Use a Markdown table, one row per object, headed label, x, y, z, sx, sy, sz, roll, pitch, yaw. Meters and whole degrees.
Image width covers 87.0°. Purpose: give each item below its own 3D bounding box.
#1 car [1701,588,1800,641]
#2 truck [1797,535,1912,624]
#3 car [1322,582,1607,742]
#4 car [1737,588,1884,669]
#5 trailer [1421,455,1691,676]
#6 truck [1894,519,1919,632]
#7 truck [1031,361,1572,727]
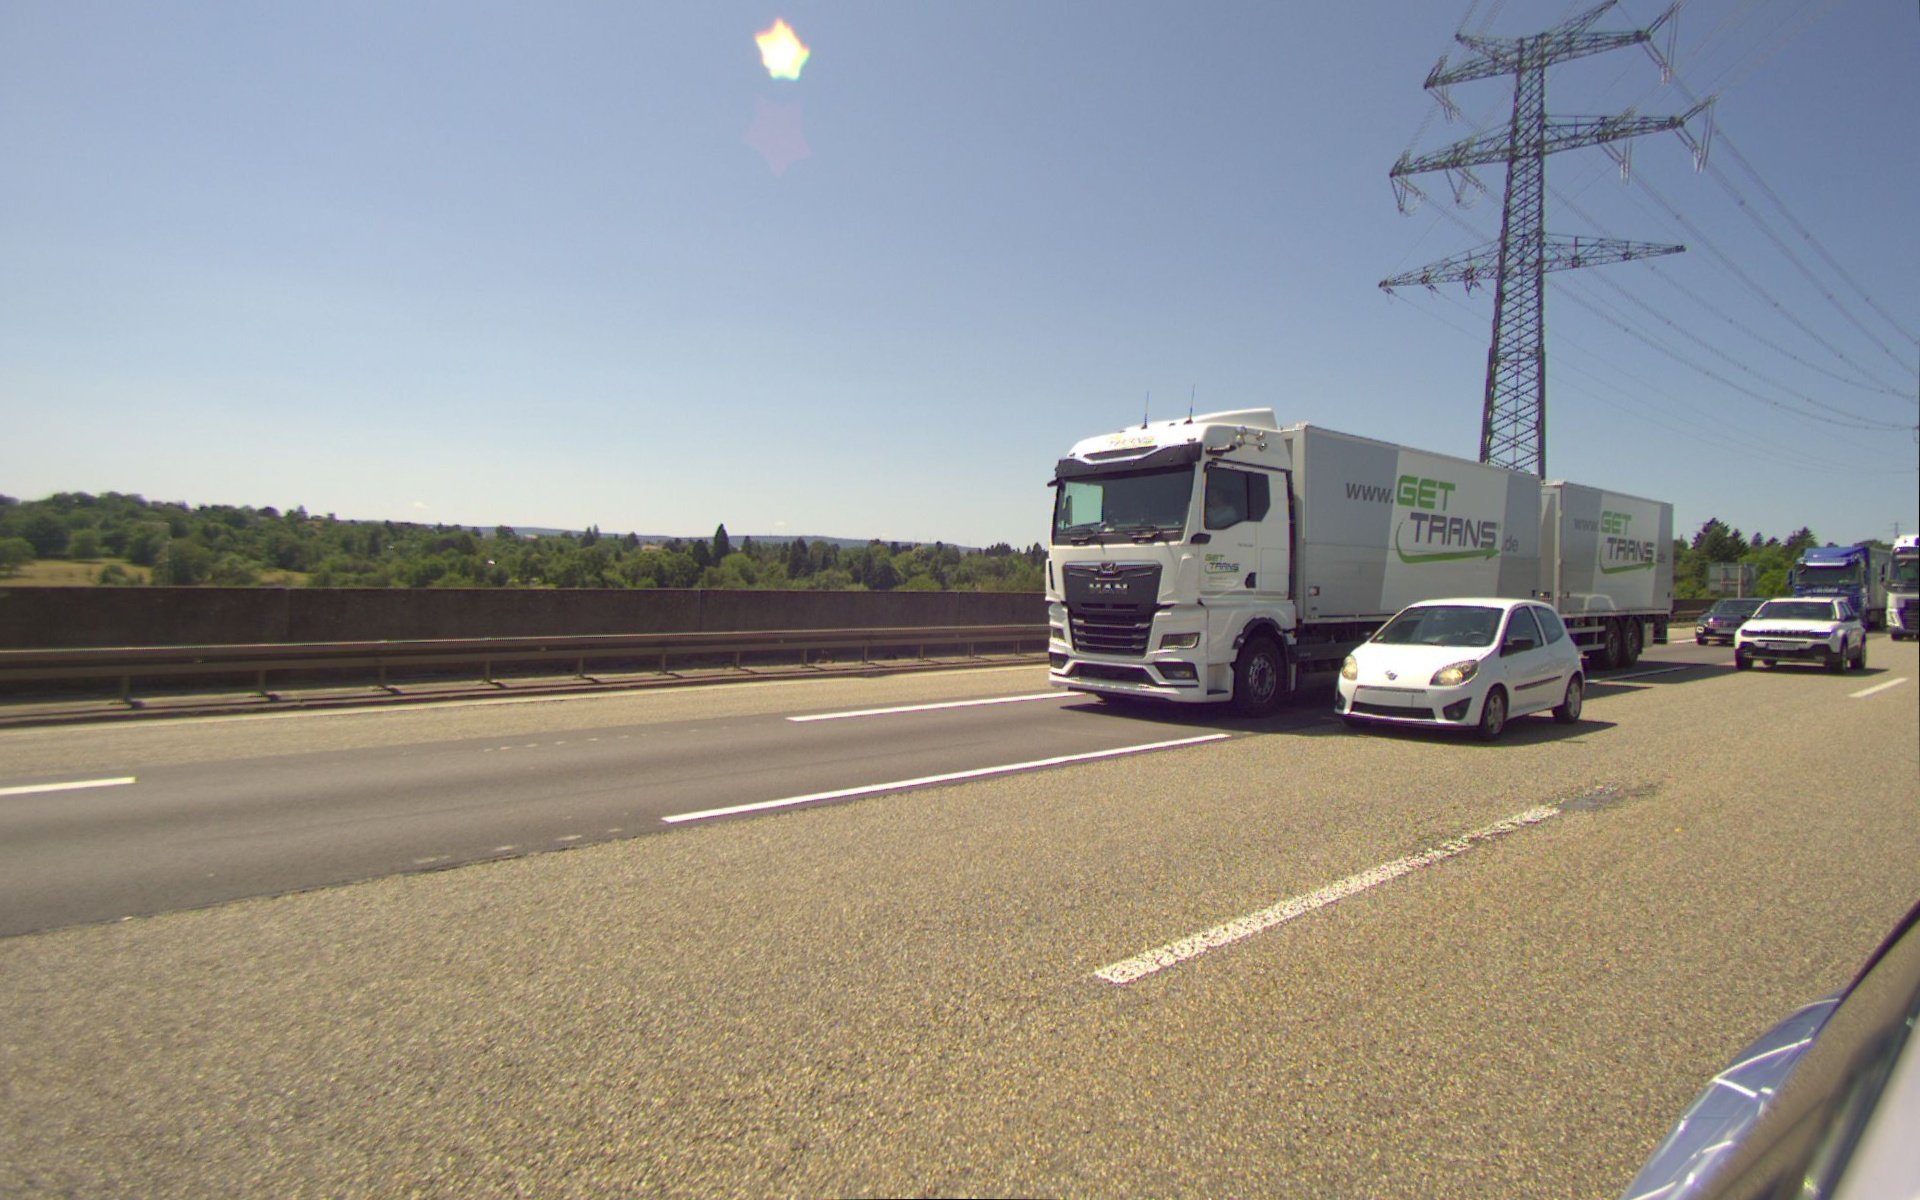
| label | x | y | z | sx | sy | sz | roll | pitch | yaw |
| --- | --- | --- | --- | --- | --- | --- | --- | --- | --- |
| car | 25.800 | 0.433 | 32.994 | 3.930 | 1.598 | 1.819 | -1 | 1 | -41 |
| truck | 43.872 | -0.968 | 49.454 | 11.079 | 3.929 | 2.838 | -1 | 0 | -41 |
| car | 5.885 | 0.584 | 11.624 | 3.760 | 1.529 | 1.658 | 0 | 1 | -42 |
| car | 18.070 | 0.542 | 21.446 | 3.784 | 1.549 | 1.775 | -1 | 0 | -40 |
| trailer | 13.038 | -0.624 | 21.823 | 7.638 | 3.991 | 2.750 | 0 | 0 | -41 |
| truck | 40.308 | -0.868 | 40.441 | 14.003 | 4.090 | 2.716 | 0 | 0 | -40 |
| truck | 5.977 | -0.618 | 15.674 | 11.099 | 3.980 | 2.693 | 0 | 0 | -41 |
